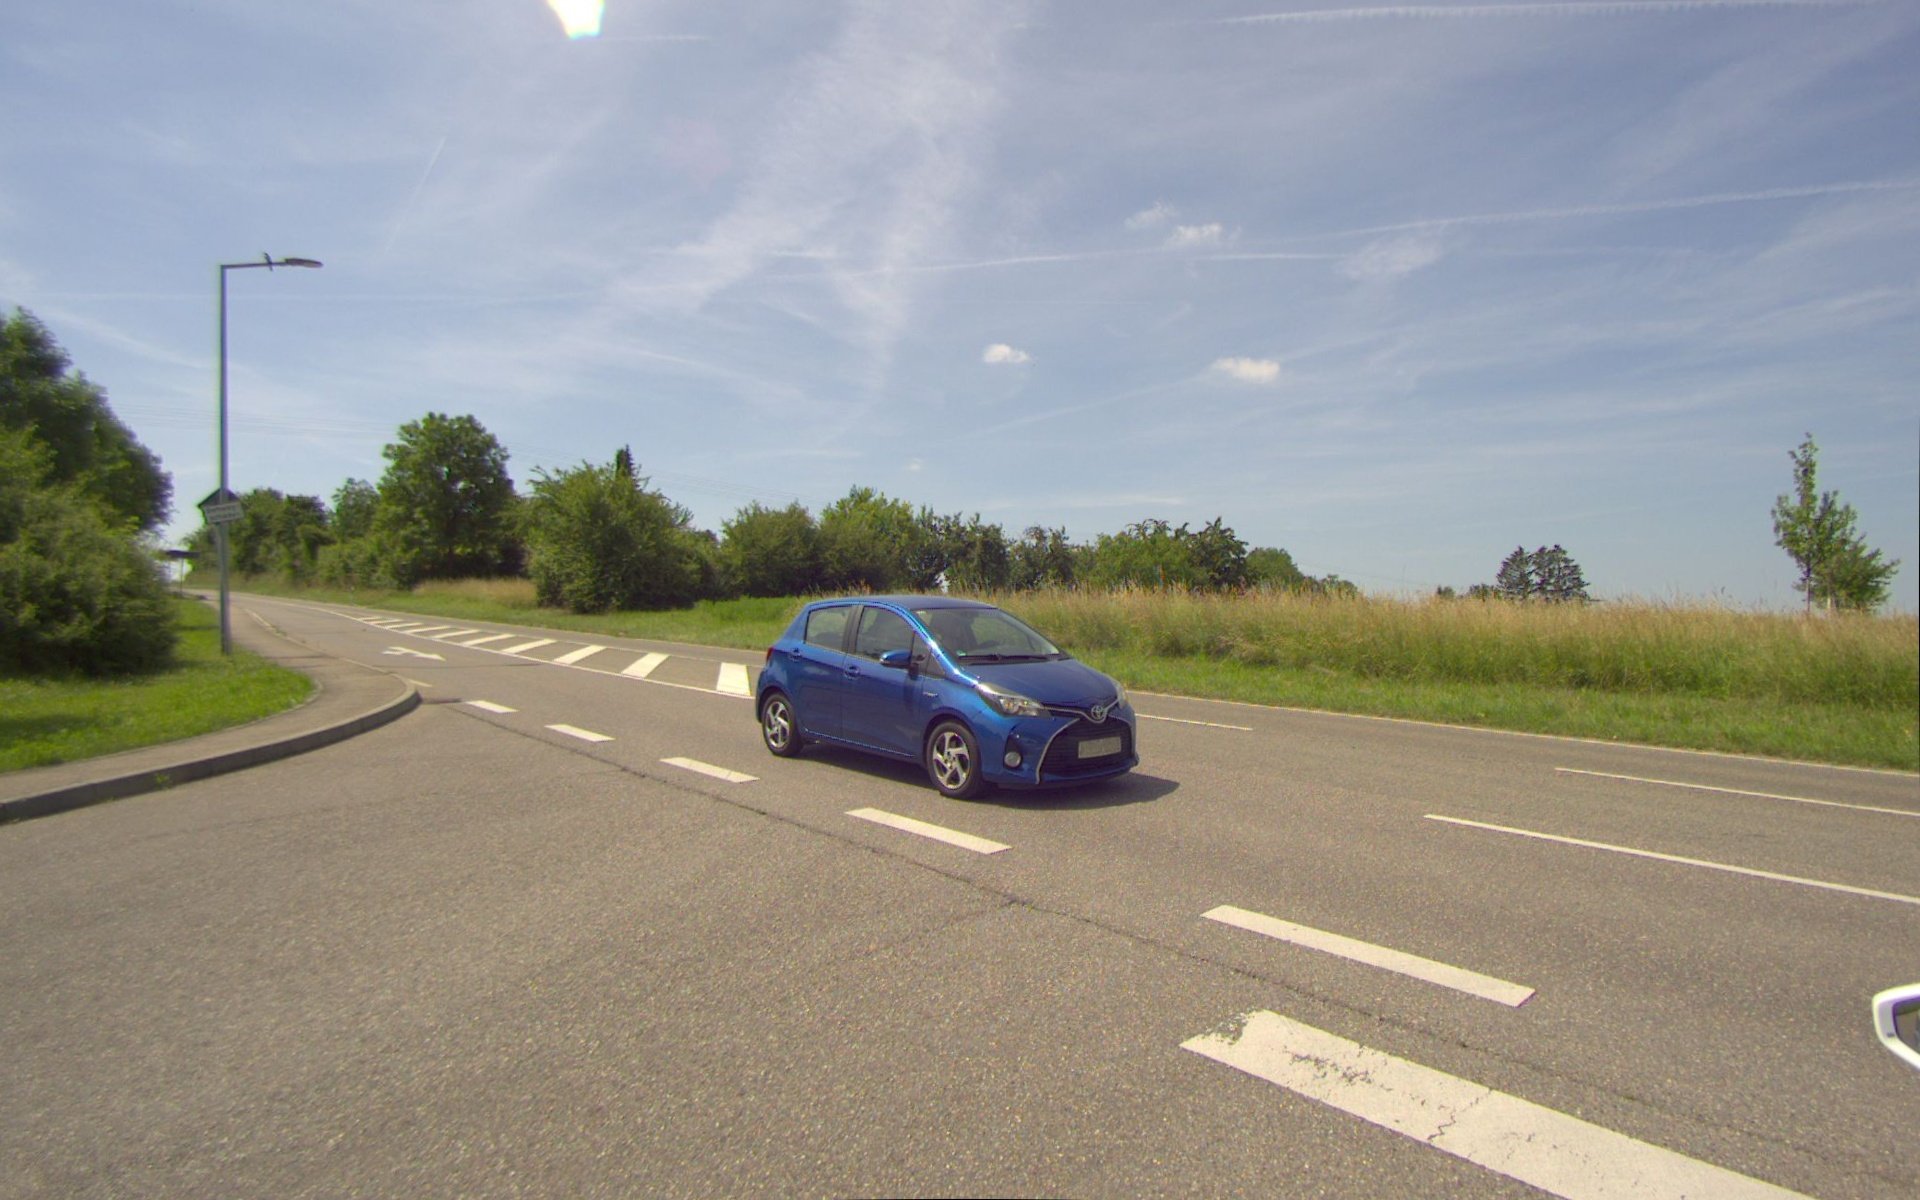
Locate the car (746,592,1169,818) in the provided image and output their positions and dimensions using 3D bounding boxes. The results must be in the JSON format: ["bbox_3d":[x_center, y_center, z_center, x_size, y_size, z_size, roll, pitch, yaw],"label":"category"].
[{"bbox_3d":[-0.212,0.701,8.796,1.601,1.512,3.801,0,1,-42],"label":"car"}]
